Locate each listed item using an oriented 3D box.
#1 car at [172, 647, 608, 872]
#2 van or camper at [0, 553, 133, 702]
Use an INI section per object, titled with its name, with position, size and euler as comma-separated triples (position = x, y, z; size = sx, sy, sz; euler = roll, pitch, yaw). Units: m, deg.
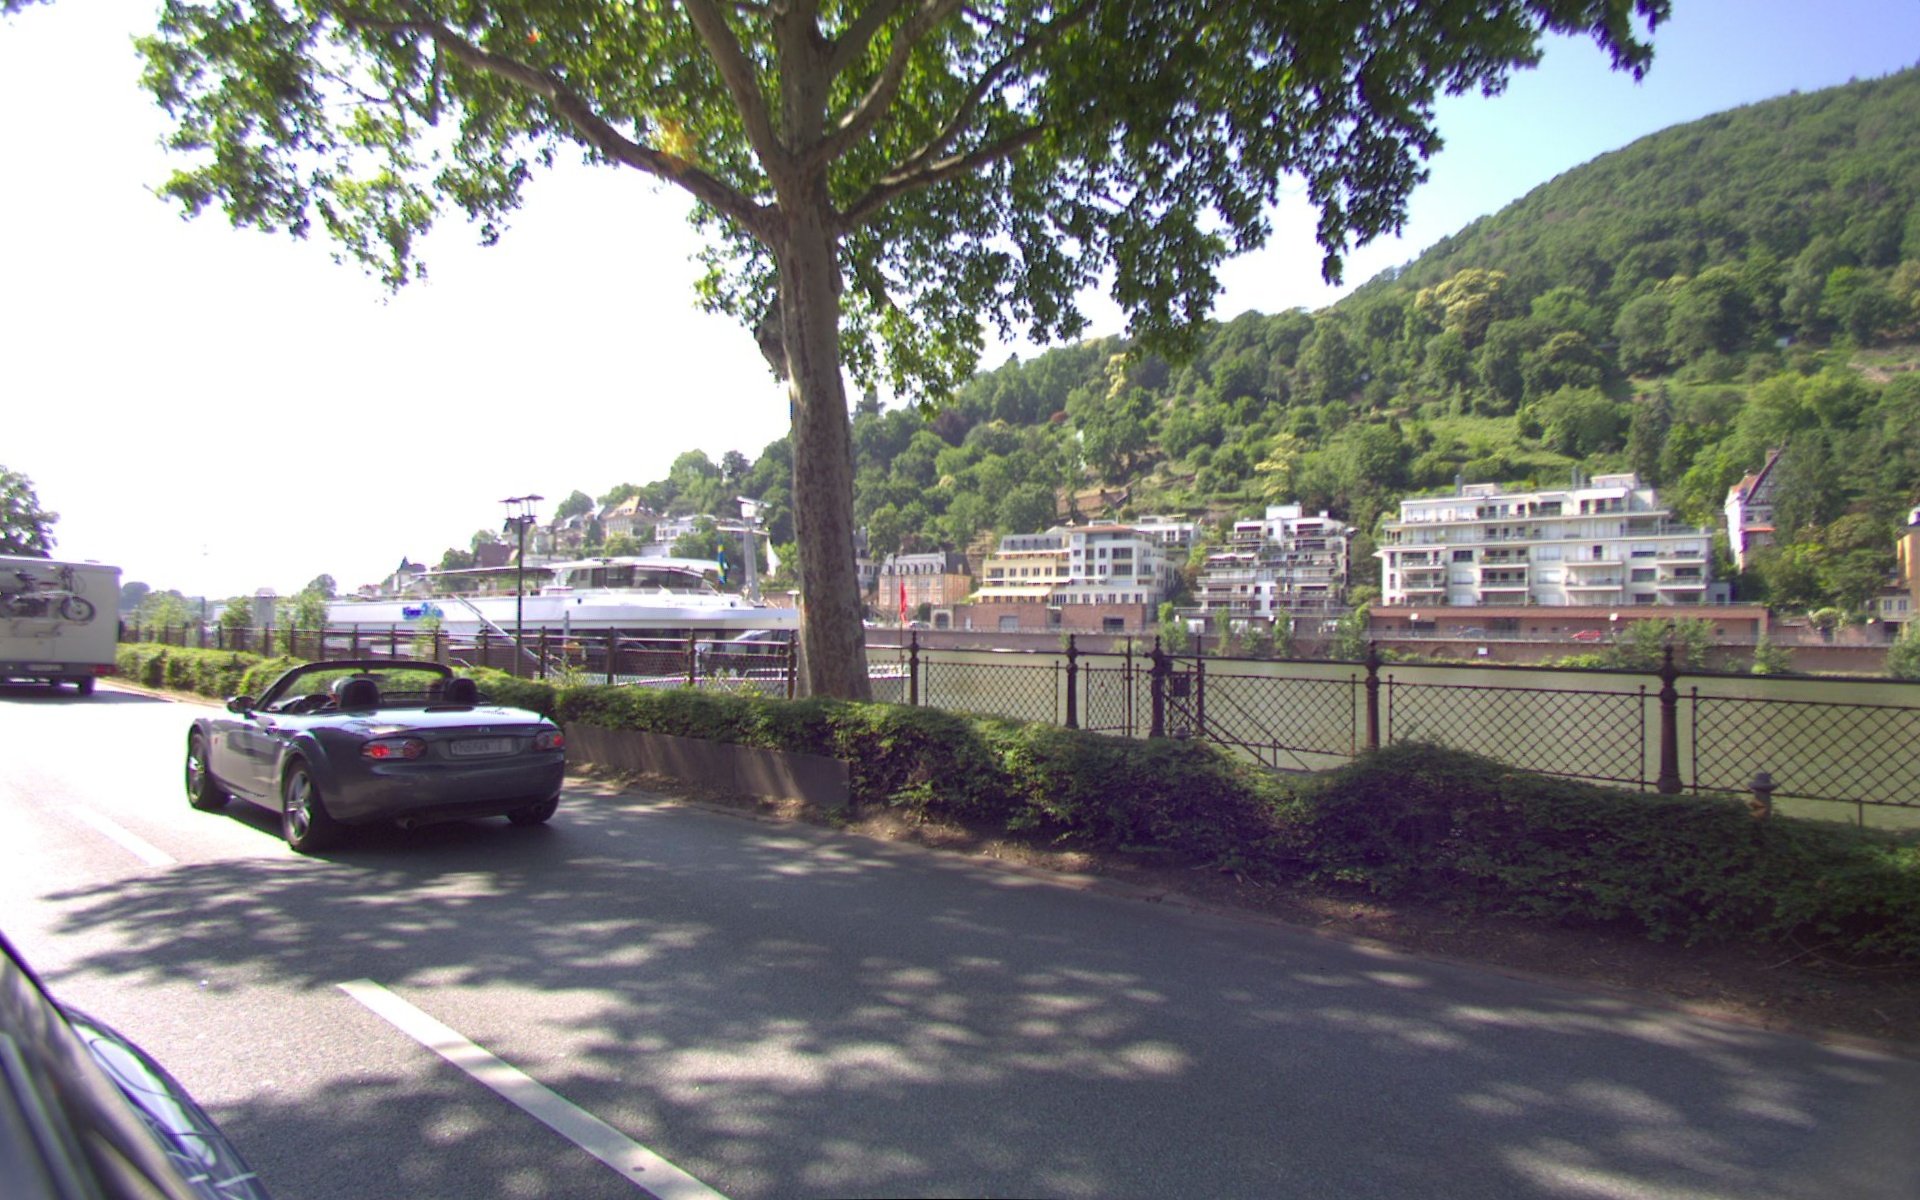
[car]
position = -4.399, 1.029, 7.647
size = 3.482, 1.220, 1.681
euler = -1, -4, 39
[van or camper]
position = -19.376, 0.557, 20.929
size = 6.260, 2.682, 2.298
euler = 0, -4, 40
